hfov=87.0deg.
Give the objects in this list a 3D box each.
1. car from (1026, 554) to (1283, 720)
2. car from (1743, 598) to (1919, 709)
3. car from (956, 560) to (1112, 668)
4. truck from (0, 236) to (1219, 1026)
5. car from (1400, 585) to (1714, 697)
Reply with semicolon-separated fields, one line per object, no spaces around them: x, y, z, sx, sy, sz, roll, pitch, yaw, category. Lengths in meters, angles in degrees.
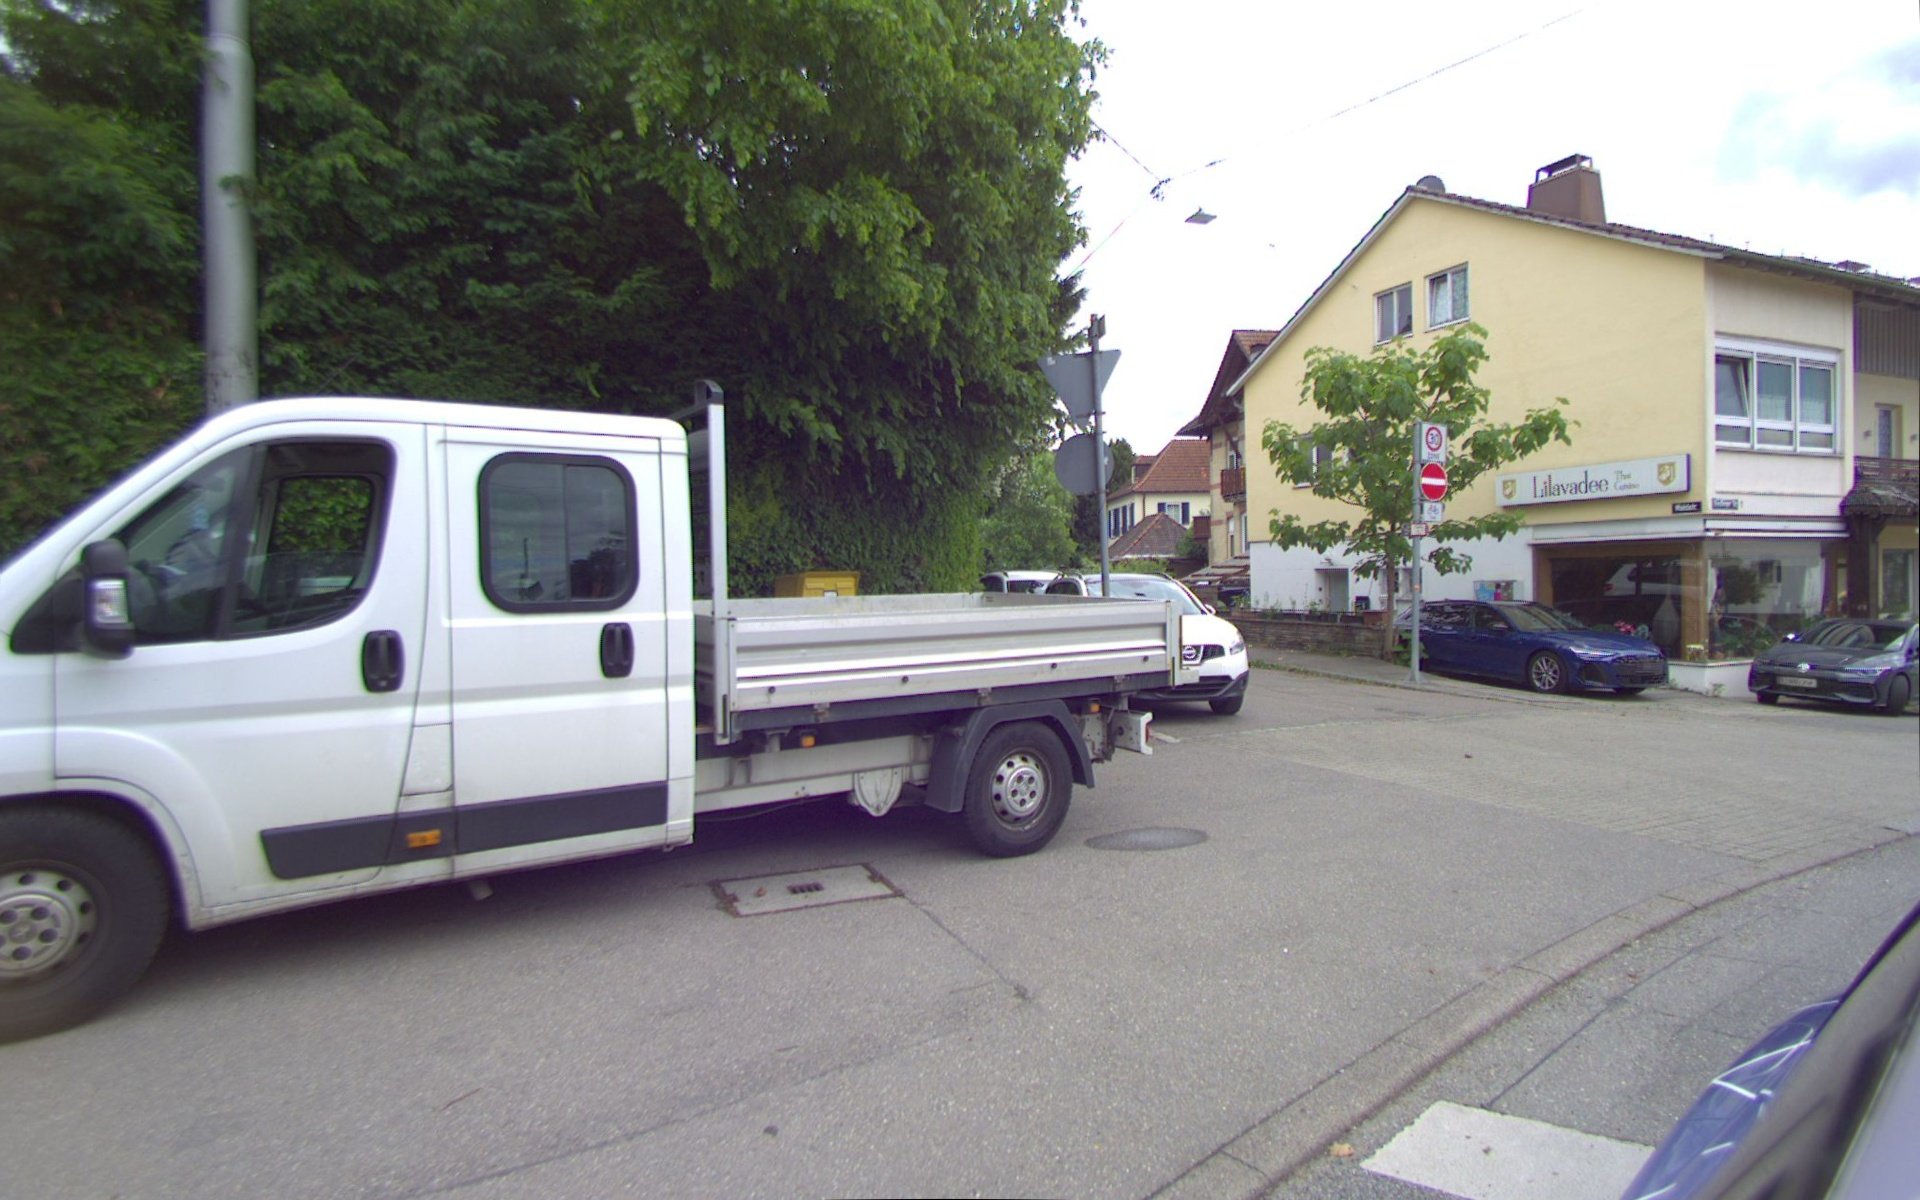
2.141;0.327;12.395;1.830;1.660;4.074;-1;1;-8;car
14.321;0.851;15.845;3.803;1.512;1.878;4;-1;-29;car
1.163;0.170;17.852;1.830;1.681;4.074;0;1;-9;car
-1.731;0.077;5.209;6.067;2.381;2.406;0;1;-32;truck
9.661;0.586;16.829;1.891;1.548;4.238;2;1;-19;car
